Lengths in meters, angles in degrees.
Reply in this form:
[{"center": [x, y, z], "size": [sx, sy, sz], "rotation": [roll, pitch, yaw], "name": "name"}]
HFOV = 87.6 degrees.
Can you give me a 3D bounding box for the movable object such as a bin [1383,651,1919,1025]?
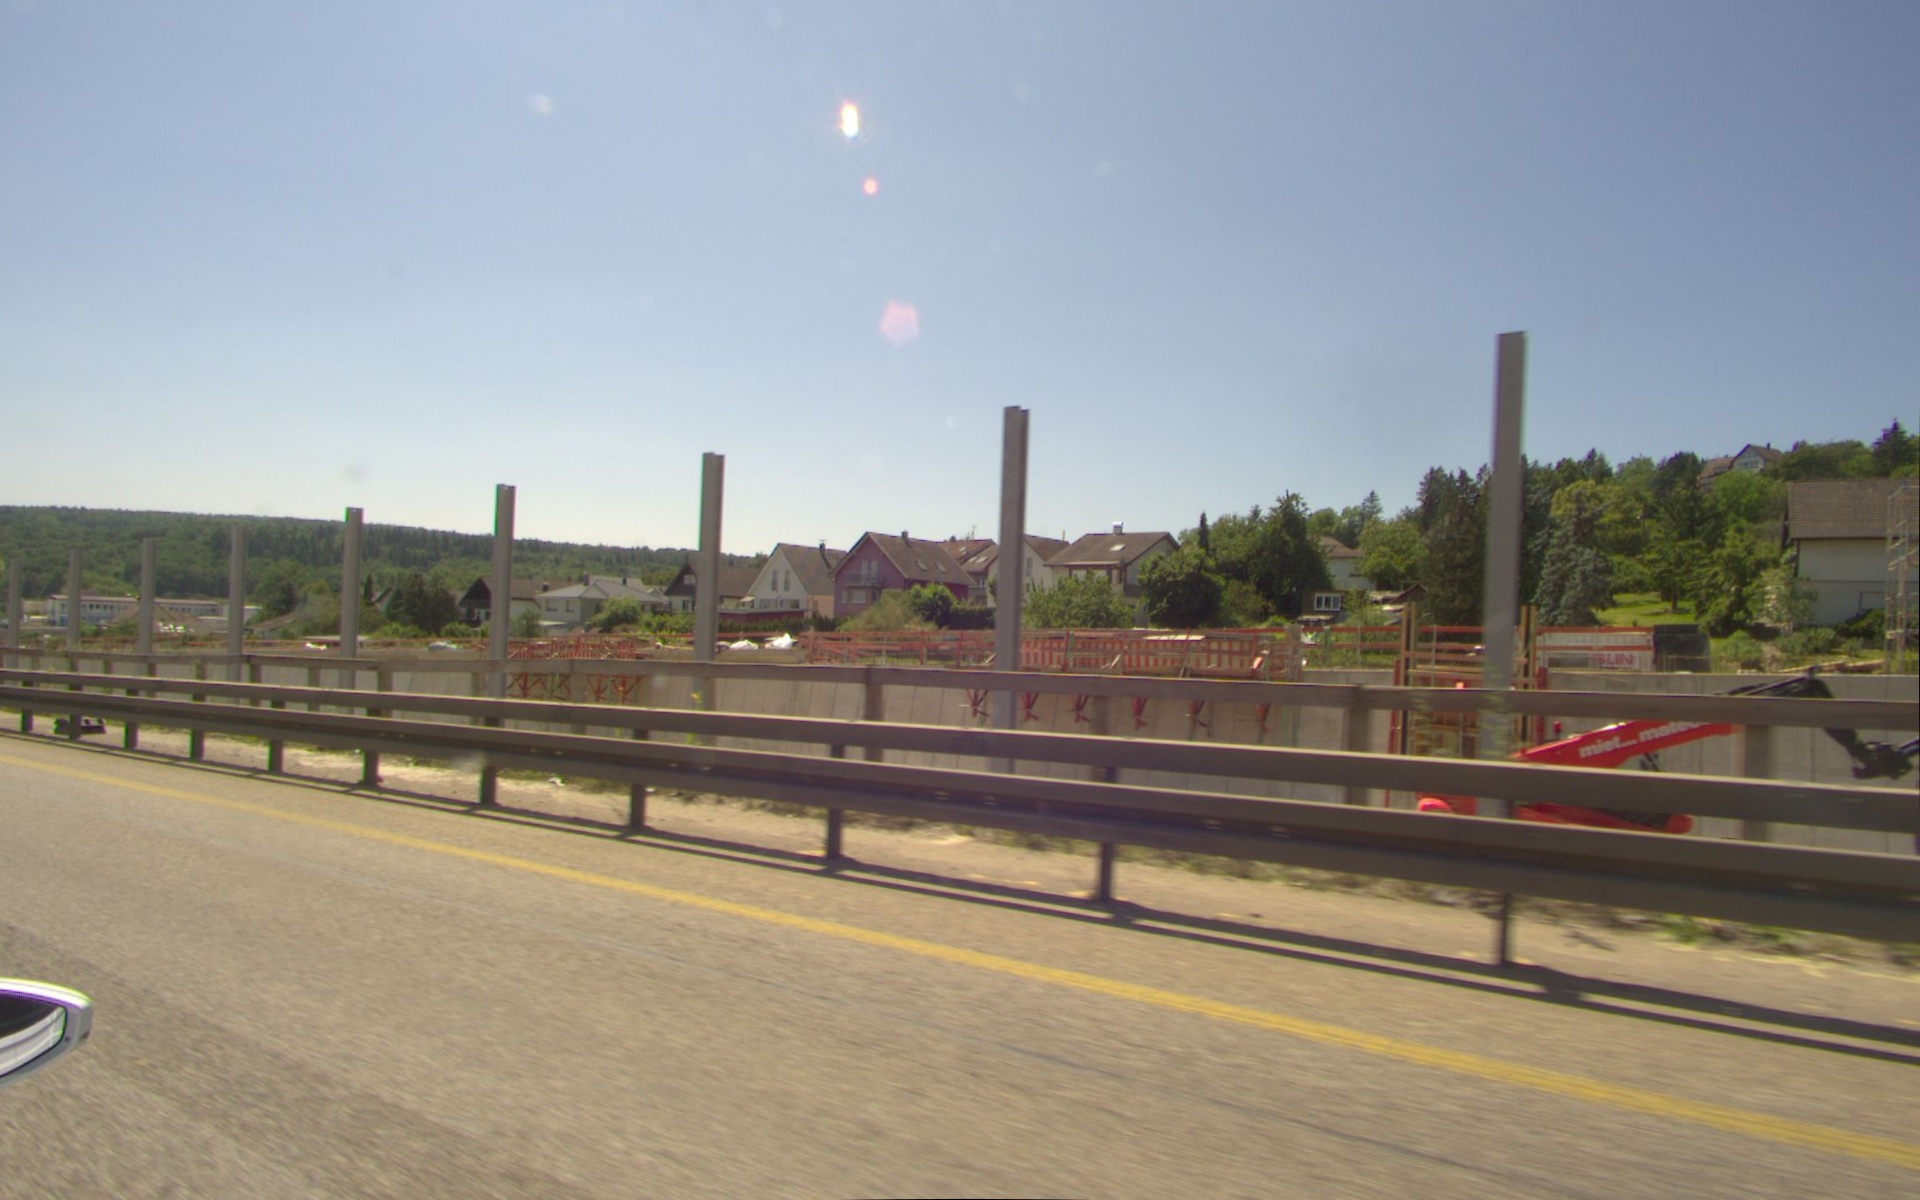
[{"center": [11.872, 3.213, 15.316], "size": [9.519, 4.802, 3.222], "rotation": [-2, -2, 32], "name": "movable object such as a bin"}]
